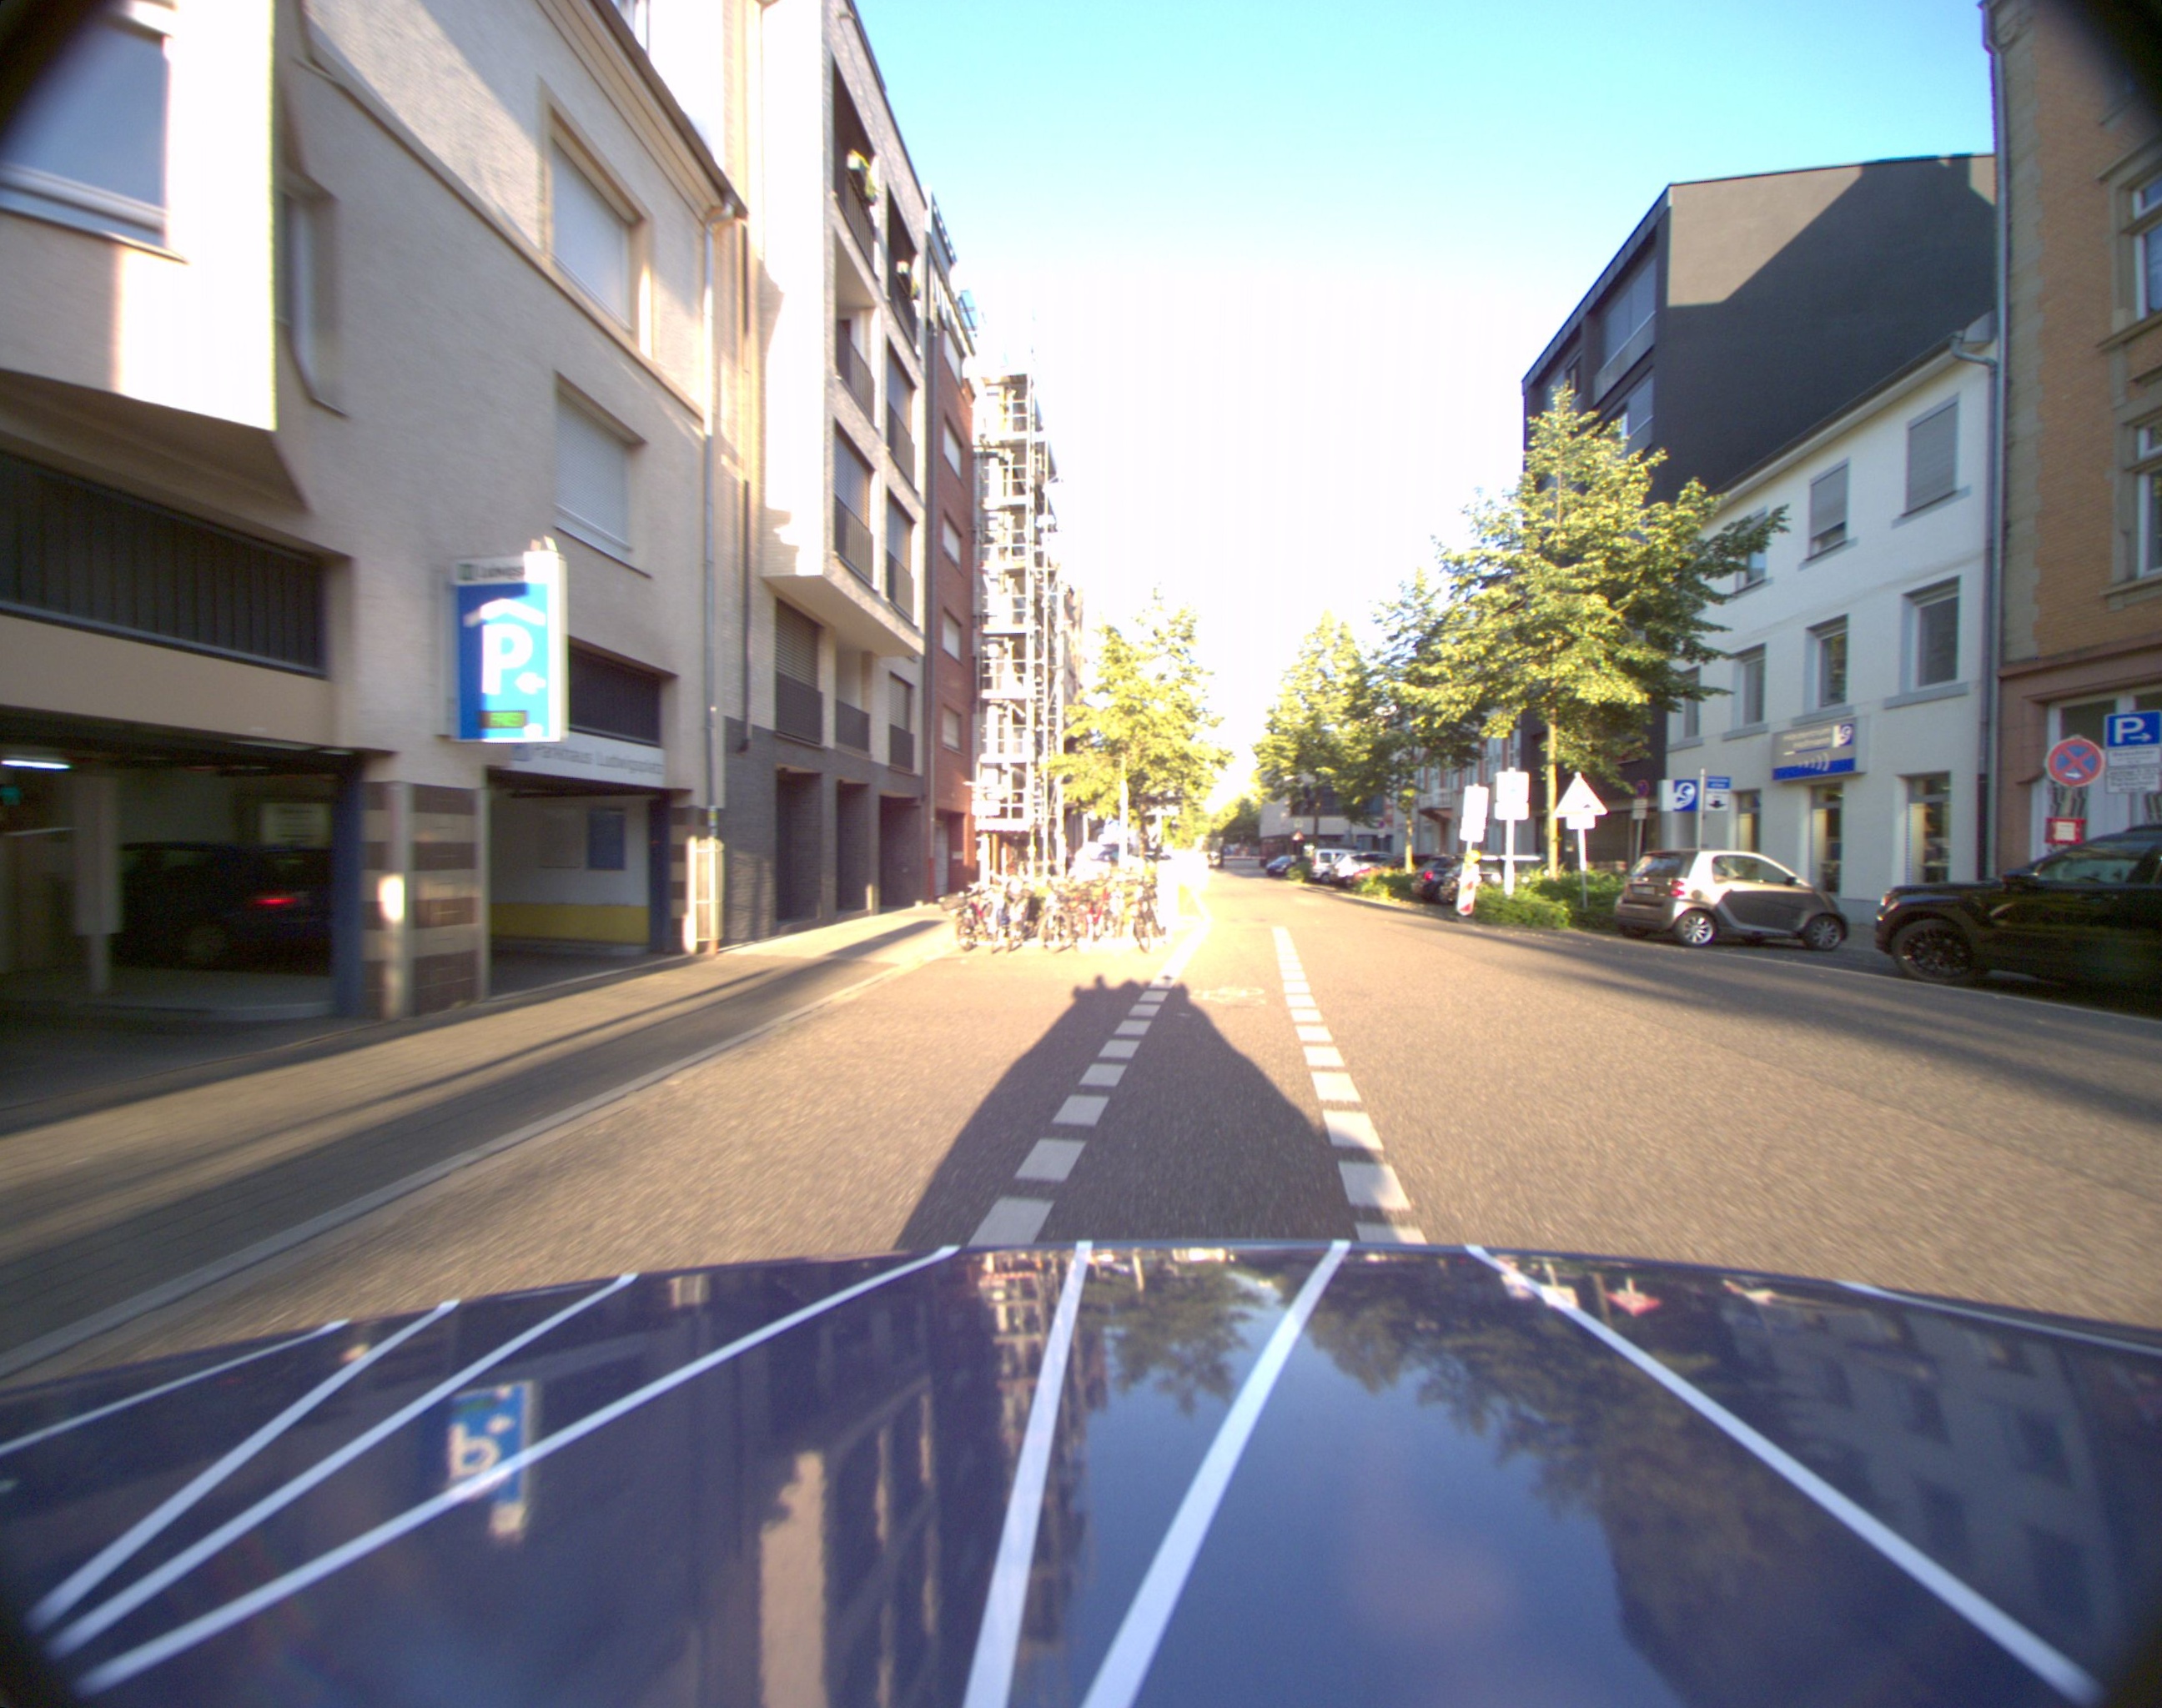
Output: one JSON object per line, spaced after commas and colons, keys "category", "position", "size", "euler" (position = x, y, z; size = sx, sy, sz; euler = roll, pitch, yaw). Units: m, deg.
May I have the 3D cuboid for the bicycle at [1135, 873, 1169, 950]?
{"category": "bicycle", "position": [1.223, 0.939, 12.861], "size": [0.508, 1.172, 1.553], "euler": [1, 1, 7]}

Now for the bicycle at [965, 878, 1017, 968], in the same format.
{"category": "bicycle", "position": [-1.318, 0.985, 11.311], "size": [0.387, 1.182, 1.553], "euler": [1, 1, 7]}

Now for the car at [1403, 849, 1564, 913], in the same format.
{"category": "car", "position": [11.681, 0.741, 22.280], "size": [3.693, 1.660, 1.859], "euler": [2, 1, 5]}

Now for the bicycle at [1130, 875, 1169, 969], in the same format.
{"category": "bicycle", "position": [1.014, 0.945, 11.099], "size": [0.498, 1.213, 1.553], "euler": [1, 1, 7]}

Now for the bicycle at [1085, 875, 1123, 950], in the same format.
{"category": "bicycle", "position": [0.418, 0.958, 12.947], "size": [0.488, 1.156, 1.553], "euler": [1, 1, 7]}

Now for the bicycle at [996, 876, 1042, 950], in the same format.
{"category": "bicycle", "position": [-1.043, 0.975, 13.098], "size": [0.468, 1.137, 1.553], "euler": [1, 1, 7]}

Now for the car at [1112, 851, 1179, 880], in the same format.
{"category": "car", "position": [4.006, 0.673, 46.913], "size": [3.994, 1.674, 1.892], "euler": [1, 1, 9]}

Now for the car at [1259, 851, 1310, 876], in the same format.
{"category": "car", "position": [13.638, 0.647, 50.754], "size": [1.852, 1.559, 3.705], "euler": [3, 1, 40]}

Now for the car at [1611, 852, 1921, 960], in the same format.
{"category": "car", "position": [10.810, 0.775, 12.197], "size": [3.477, 1.566, 1.508], "euler": [1, 1, 4]}

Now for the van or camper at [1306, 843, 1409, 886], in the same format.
{"category": "van or camper", "position": [13.769, 0.500, 38.037], "size": [4.449, 1.994, 1.859], "euler": [2, 1, 5]}

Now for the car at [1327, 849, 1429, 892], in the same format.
{"category": "car", "position": [12.802, 0.695, 32.911], "size": [3.693, 1.660, 1.859], "euler": [2, 1, 5]}

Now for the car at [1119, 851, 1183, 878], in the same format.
{"category": "car", "position": [4.571, 0.676, 49.555], "size": [3.994, 1.674, 1.892], "euler": [1, 1, 9]}

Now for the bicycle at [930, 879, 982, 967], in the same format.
{"category": "bicycle", "position": [-1.854, 0.991, 11.399], "size": [0.387, 1.176, 1.406], "euler": [1, 1, 7]}

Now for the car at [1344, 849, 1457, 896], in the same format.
{"category": "car", "position": [12.665, 0.708, 30.326], "size": [3.693, 1.660, 1.859], "euler": [2, 1, 5]}

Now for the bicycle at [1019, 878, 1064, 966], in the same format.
{"category": "bicycle", "position": [-0.560, 0.959, 11.207], "size": [0.381, 1.153, 1.553], "euler": [1, 1, 7]}

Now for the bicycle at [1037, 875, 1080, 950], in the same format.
{"category": "bicycle", "position": [-0.362, 0.954, 12.902], "size": [0.488, 1.143, 1.553], "euler": [1, 1, 7]}

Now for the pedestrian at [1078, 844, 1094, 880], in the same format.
{"category": "pedestrian", "position": [0.239, 0.376, 37.918], "size": [0.743, 1.773, 0.657], "euler": [0, 1, 5]}

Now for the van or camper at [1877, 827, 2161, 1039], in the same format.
{"category": "van or camper", "position": [10.112, 0.686, 6.526], "size": [1.894, 1.797, 4.460], "euler": [1, 1, 2]}

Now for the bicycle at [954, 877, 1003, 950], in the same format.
{"category": "bicycle", "position": [-1.747, 0.995, 13.130], "size": [0.458, 1.125, 1.553], "euler": [1, 1, 7]}

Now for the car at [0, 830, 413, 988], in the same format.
{"category": "car", "position": [-10.692, 0.569, 8.952], "size": [4.115, 1.554, 1.693], "euler": [2, 1, 0]}

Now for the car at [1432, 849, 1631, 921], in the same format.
{"category": "car", "position": [11.610, 0.751, 19.829], "size": [4.004, 1.660, 1.859], "euler": [2, 1, 5]}

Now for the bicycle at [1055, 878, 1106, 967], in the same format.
{"category": "bicycle", "position": [0.012, 0.961, 11.204], "size": [0.417, 1.150, 1.553], "euler": [1, 1, 12]}

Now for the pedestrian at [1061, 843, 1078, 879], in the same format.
{"category": "pedestrian", "position": [-0.574, 0.356, 37.901], "size": [0.742, 1.773, 0.657], "euler": [0, 1, 7]}
